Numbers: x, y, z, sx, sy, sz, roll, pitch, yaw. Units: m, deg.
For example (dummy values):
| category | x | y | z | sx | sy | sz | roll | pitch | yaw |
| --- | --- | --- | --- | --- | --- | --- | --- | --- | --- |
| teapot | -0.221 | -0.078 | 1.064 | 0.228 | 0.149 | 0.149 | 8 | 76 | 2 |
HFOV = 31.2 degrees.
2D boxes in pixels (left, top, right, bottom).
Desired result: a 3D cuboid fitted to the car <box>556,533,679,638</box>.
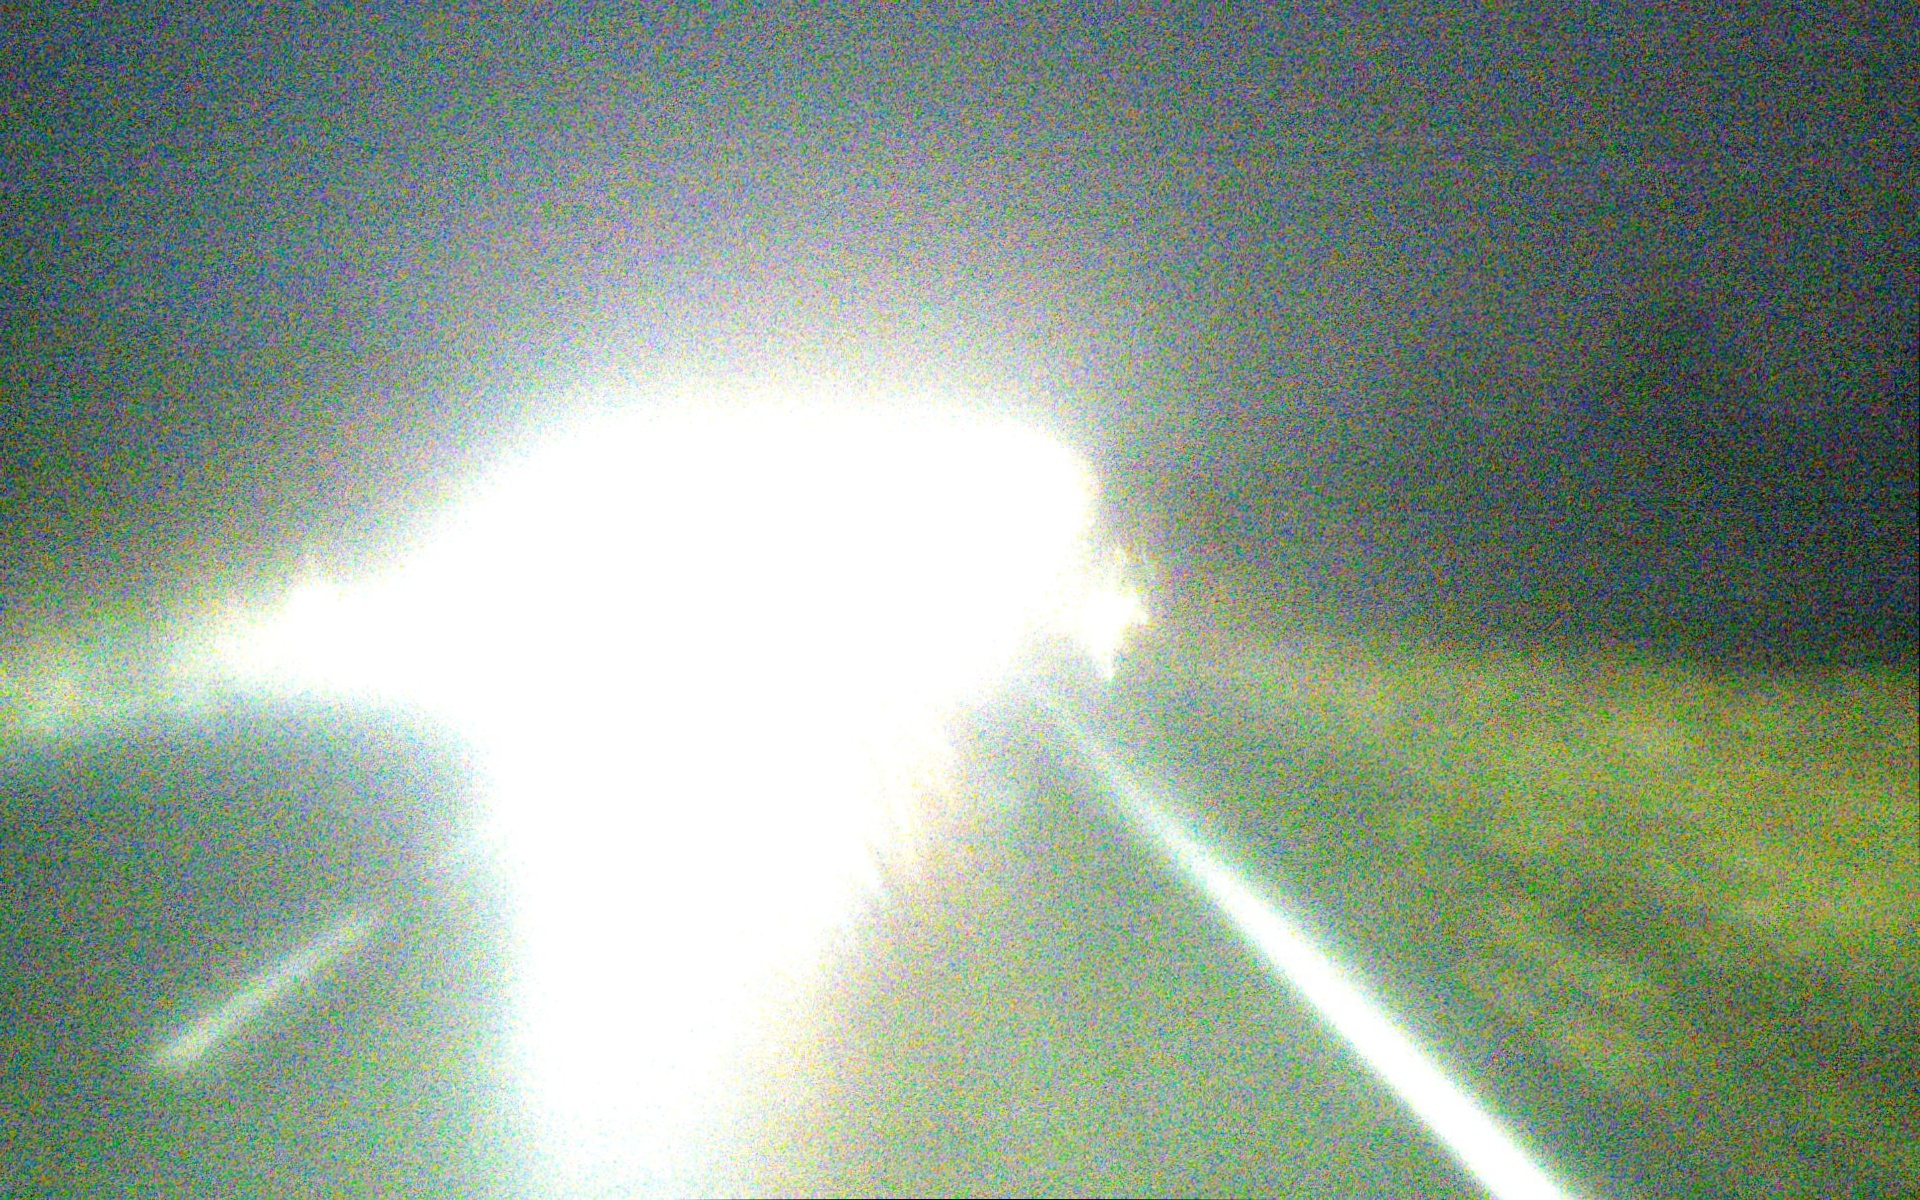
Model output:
| category | x | y | z | sx | sy | sz | roll | pitch | yaw |
| --- | --- | --- | --- | --- | --- | --- | --- | --- | --- |
| car | -6.001 | -0.226 | 60.483 | 1.993 | 1.656 | 4.000 | 3 | -1 | -5 |

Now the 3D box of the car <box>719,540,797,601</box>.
| category | x | y | z | sx | sy | sz | roll | pitch | yaw |
| --- | --- | --- | --- | --- | --- | --- | --- | --- | --- |
| car | -5.805 | -0.857 | 99.223 | 1.993 | 1.655 | 4.000 | 2 | 0 | -1 |

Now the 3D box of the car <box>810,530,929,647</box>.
| category | x | y | z | sx | sy | sz | roll | pitch | yaw |
| --- | --- | --- | --- | --- | --- | --- | --- | --- | --- |
| car | -1.473 | -0.229 | 57.117 | 1.842 | 1.734 | 4.001 | 2 | 2 | -1 |
